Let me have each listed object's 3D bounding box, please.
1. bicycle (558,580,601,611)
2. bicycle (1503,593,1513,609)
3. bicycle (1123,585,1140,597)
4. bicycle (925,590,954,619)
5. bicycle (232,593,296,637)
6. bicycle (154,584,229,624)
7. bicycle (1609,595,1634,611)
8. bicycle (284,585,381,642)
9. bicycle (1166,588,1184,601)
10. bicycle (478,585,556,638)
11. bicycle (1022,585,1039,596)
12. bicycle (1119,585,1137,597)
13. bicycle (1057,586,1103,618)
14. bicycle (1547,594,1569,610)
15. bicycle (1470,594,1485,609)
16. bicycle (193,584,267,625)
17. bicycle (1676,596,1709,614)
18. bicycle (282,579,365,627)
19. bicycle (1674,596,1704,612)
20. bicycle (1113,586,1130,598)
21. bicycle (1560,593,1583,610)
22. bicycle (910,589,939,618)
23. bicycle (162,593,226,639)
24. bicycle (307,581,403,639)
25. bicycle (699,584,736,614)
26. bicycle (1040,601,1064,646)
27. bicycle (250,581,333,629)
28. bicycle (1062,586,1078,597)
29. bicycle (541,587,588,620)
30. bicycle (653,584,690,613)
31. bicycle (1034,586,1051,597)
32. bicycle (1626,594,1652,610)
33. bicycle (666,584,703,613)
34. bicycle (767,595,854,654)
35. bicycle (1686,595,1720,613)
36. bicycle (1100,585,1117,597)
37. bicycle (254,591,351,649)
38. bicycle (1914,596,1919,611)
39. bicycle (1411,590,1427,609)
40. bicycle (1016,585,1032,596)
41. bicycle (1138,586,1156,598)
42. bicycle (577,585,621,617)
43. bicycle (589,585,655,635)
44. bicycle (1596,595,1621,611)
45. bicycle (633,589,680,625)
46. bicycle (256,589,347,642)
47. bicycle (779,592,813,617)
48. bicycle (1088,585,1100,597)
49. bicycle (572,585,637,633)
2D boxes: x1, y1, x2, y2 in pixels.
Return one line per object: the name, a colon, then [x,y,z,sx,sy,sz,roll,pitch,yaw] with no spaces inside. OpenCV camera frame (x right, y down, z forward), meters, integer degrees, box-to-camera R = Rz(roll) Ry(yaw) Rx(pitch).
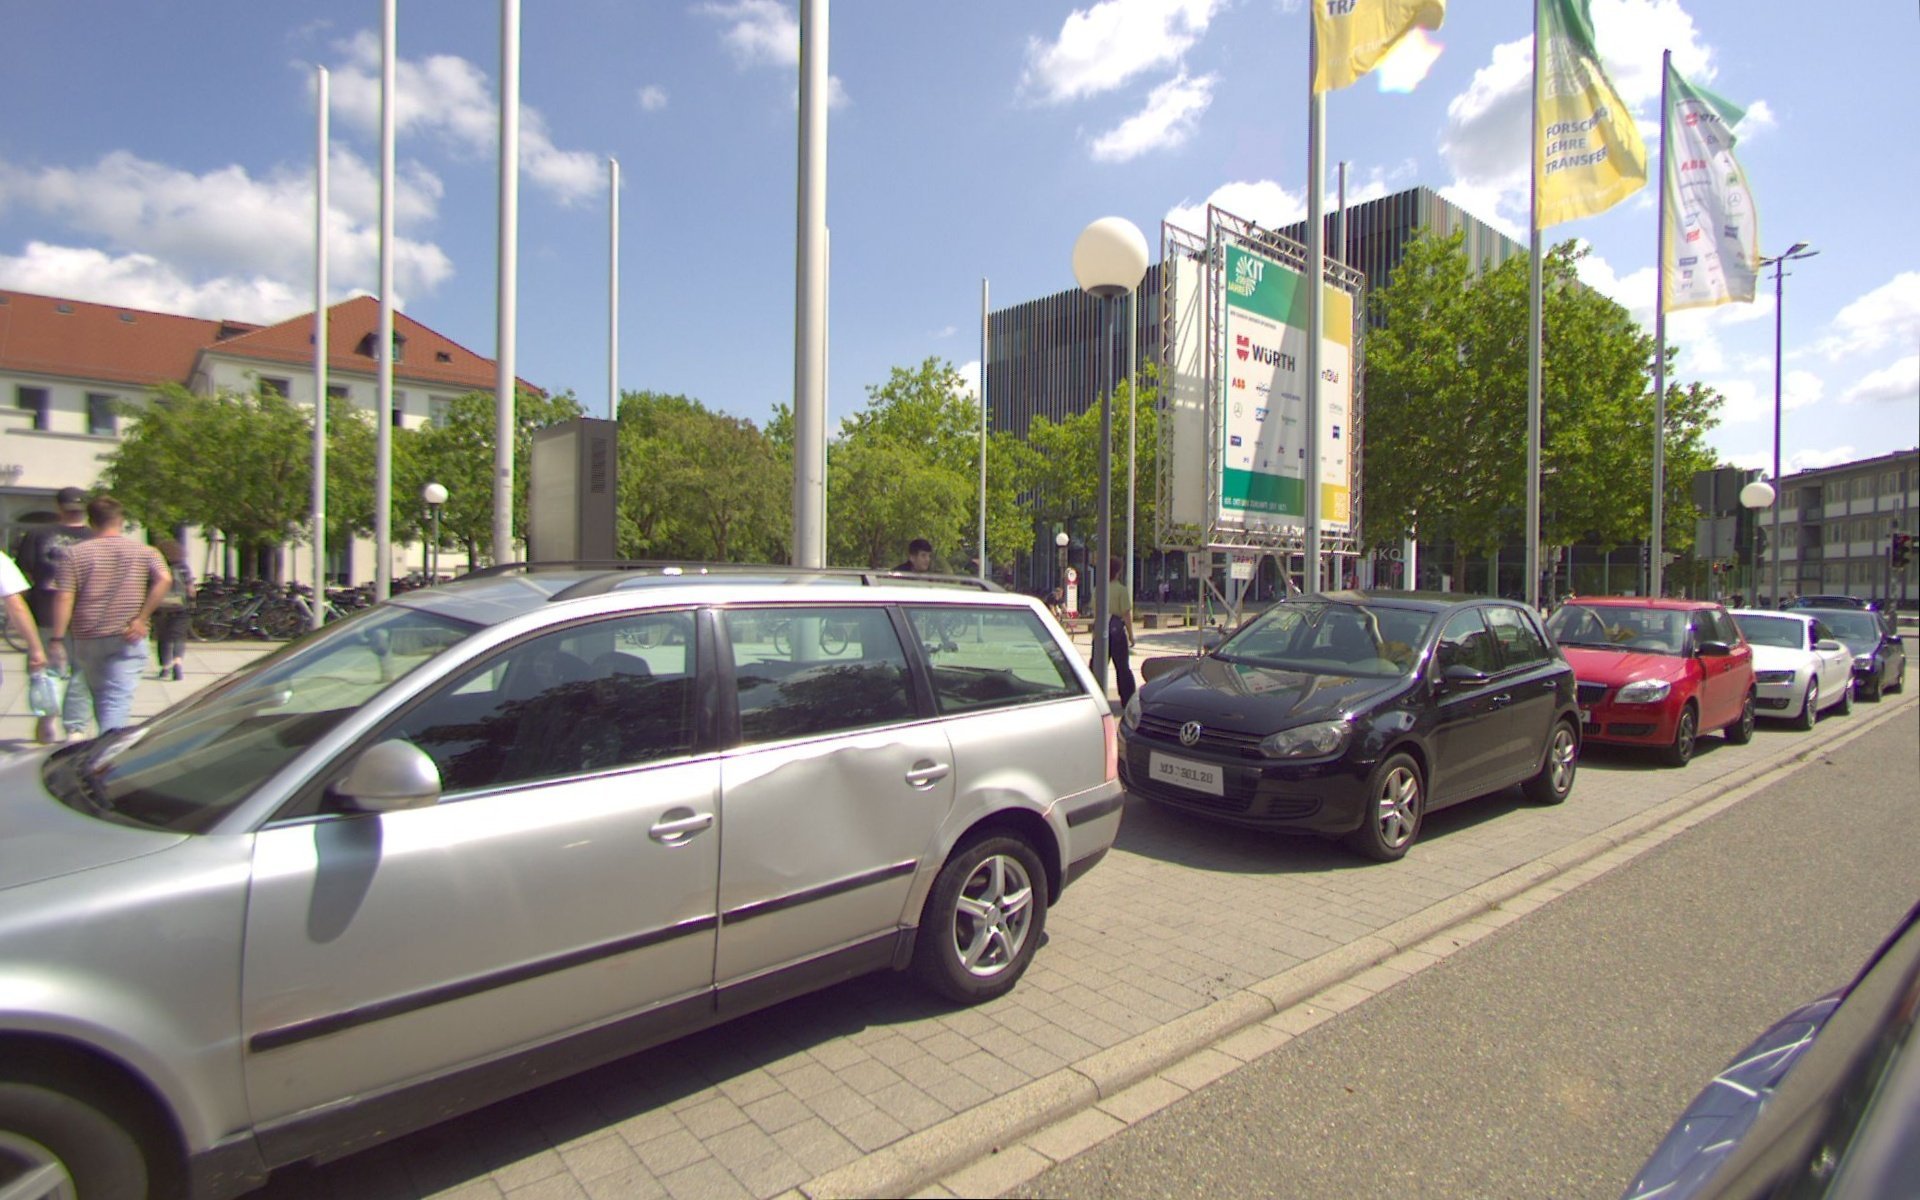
bicycle: [-14.542,-0.194,38.710,0.596,1.112,1.758,0,2,18]
bicycle: [36.107,0.061,66.682,0.524,0.967,1.755,1,2,29]
bicycle: [14.698,-0.757,86.858,1.515,0.967,0.374,-2,2,-26]
bicycle: [-0.813,0.167,40.603,0.596,1.112,1.758,0,2,18]
bicycle: [-13.743,0.286,19.960,1.758,0.802,0.513,2,1,37]
bicycle: [-23.187,0.095,30.562,0.596,1.112,1.758,0,2,18]
bicycle: [42.441,0.164,64.961,0.519,0.967,1.772,0,2,3]
bicycle: [-13.297,0.257,21.505,0.596,1.112,1.758,0,2,18]
bicycle: [17.787,-0.457,83.798,1.515,0.967,0.374,-2,2,-26]
bicycle: [-9.984,0.239,22.867,0.596,1.112,1.758,0,2,18]
bicycle: [6.717,-0.931,96.370,1.754,0.967,0.432,-2,2,-41]
bicycle: [14.515,-0.778,87.417,1.515,0.967,0.374,-2,2,-26]
bicycle: [4.842,0.074,40.991,0.784,1.198,2.034,-1,2,-30]
bicycle: [38.901,0.121,65.822,0.520,0.967,1.771,0,2,6]
bicycle: [34.434,0.087,67.302,0.367,0.967,1.768,1,2,10]
bicycle: [-21.553,0.108,29.932,0.596,1.112,1.758,0,2,18]
bicycle: [40.956,0.258,56.604,0.519,0.967,1.775,0,2,-3]
bicycle: [-15.707,0.056,25.020,0.596,1.112,1.758,0,2,18]
bicycle: [46.178,0.238,64.105,0.519,0.967,1.775,0,2,-3]
bicycle: [14.035,-0.687,87.910,1.515,0.967,0.374,-2,2,-26]
bicycle: [39.706,0.096,65.725,0.520,0.967,1.771,-2,2,6]
bicycle: [-1.432,0.135,40.926,0.596,1.112,1.758,0,2,18]
bicycle: [-14.521,0.289,19.160,1.758,0.802,0.513,2,1,37]
bicycle: [-12.644,0.178,21.208,0.596,1.112,1.758,0,2,18]
bicycle: [-9.723,-0.049,40.572,0.596,1.112,1.758,0,2,18]
bicycle: [2.505,0.622,27.418,0.597,1.152,1.585,2,0,6]
bicycle: [-16.845,0.108,25.538,0.596,1.112,1.758,0,2,18]
bicycle: [10.081,-0.784,92.838,1.754,0.967,0.432,-2,2,-41]
bicycle: [-14.284,0.111,36.599,0.596,1.112,1.758,0,2,18]
bicycle: [-11.805,-0.069,41.457,0.596,1.112,1.758,0,2,18]
bicycle: [7.790,-0.844,95.465,1.754,0.967,0.432,-2,2,-41]
bicycle: [43.503,0.096,64.893,0.519,0.967,1.772,0,2,3]
bicycle: [-11.185,-0.074,41.109,0.596,1.112,1.758,0,2,18]
bicycle: [-3.079,0.505,20.929,1.662,1.152,0.681,2,0,-41]
bicycle: [41.540,0.207,56.621,0.519,0.967,1.775,0,2,-3]
bicycle: [13.092,-0.812,89.290,1.515,0.967,0.374,-2,2,-26]
bicycle: [-14.018,0.400,21.631,0.596,1.112,1.758,0,2,18]
bicycle: [65.271,0.230,67.892,1.754,0.967,0.525,2,3,24]
bicycle: [30.729,-0.032,67.786,1.520,1.201,0.373,-2,4,-42]
bicycle: [6.129,-0.903,97.496,1.754,0.967,0.432,-2,2,-41]
bicycle: [15.777,-0.650,85.293,1.515,0.967,0.374,-2,2,-26]
bicycle: [-13.669,0.031,38.354,0.596,1.112,1.758,0,2,18]
bicycle: [-8.195,0.215,24.603,0.596,1.112,1.758,0,2,18]
bicycle: [41.676,0.165,65.043,0.519,0.967,1.772,0,2,3]
bicycle: [-9.956,0.217,33.266,0.596,1.112,1.758,0,2,18]
bicycle: [-15.143,0.337,23.321,0.596,1.112,1.758,0,2,18]
bicycle: [-5.943,0.168,36.816,0.478,0.879,1.757,0,1,18]
bicycle: [11.797,-0.784,89.207,0.371,0.967,1.526,1,2,38]
bicycle: [-8.907,0.195,25.430,0.596,1.112,1.758,0,2,18]
